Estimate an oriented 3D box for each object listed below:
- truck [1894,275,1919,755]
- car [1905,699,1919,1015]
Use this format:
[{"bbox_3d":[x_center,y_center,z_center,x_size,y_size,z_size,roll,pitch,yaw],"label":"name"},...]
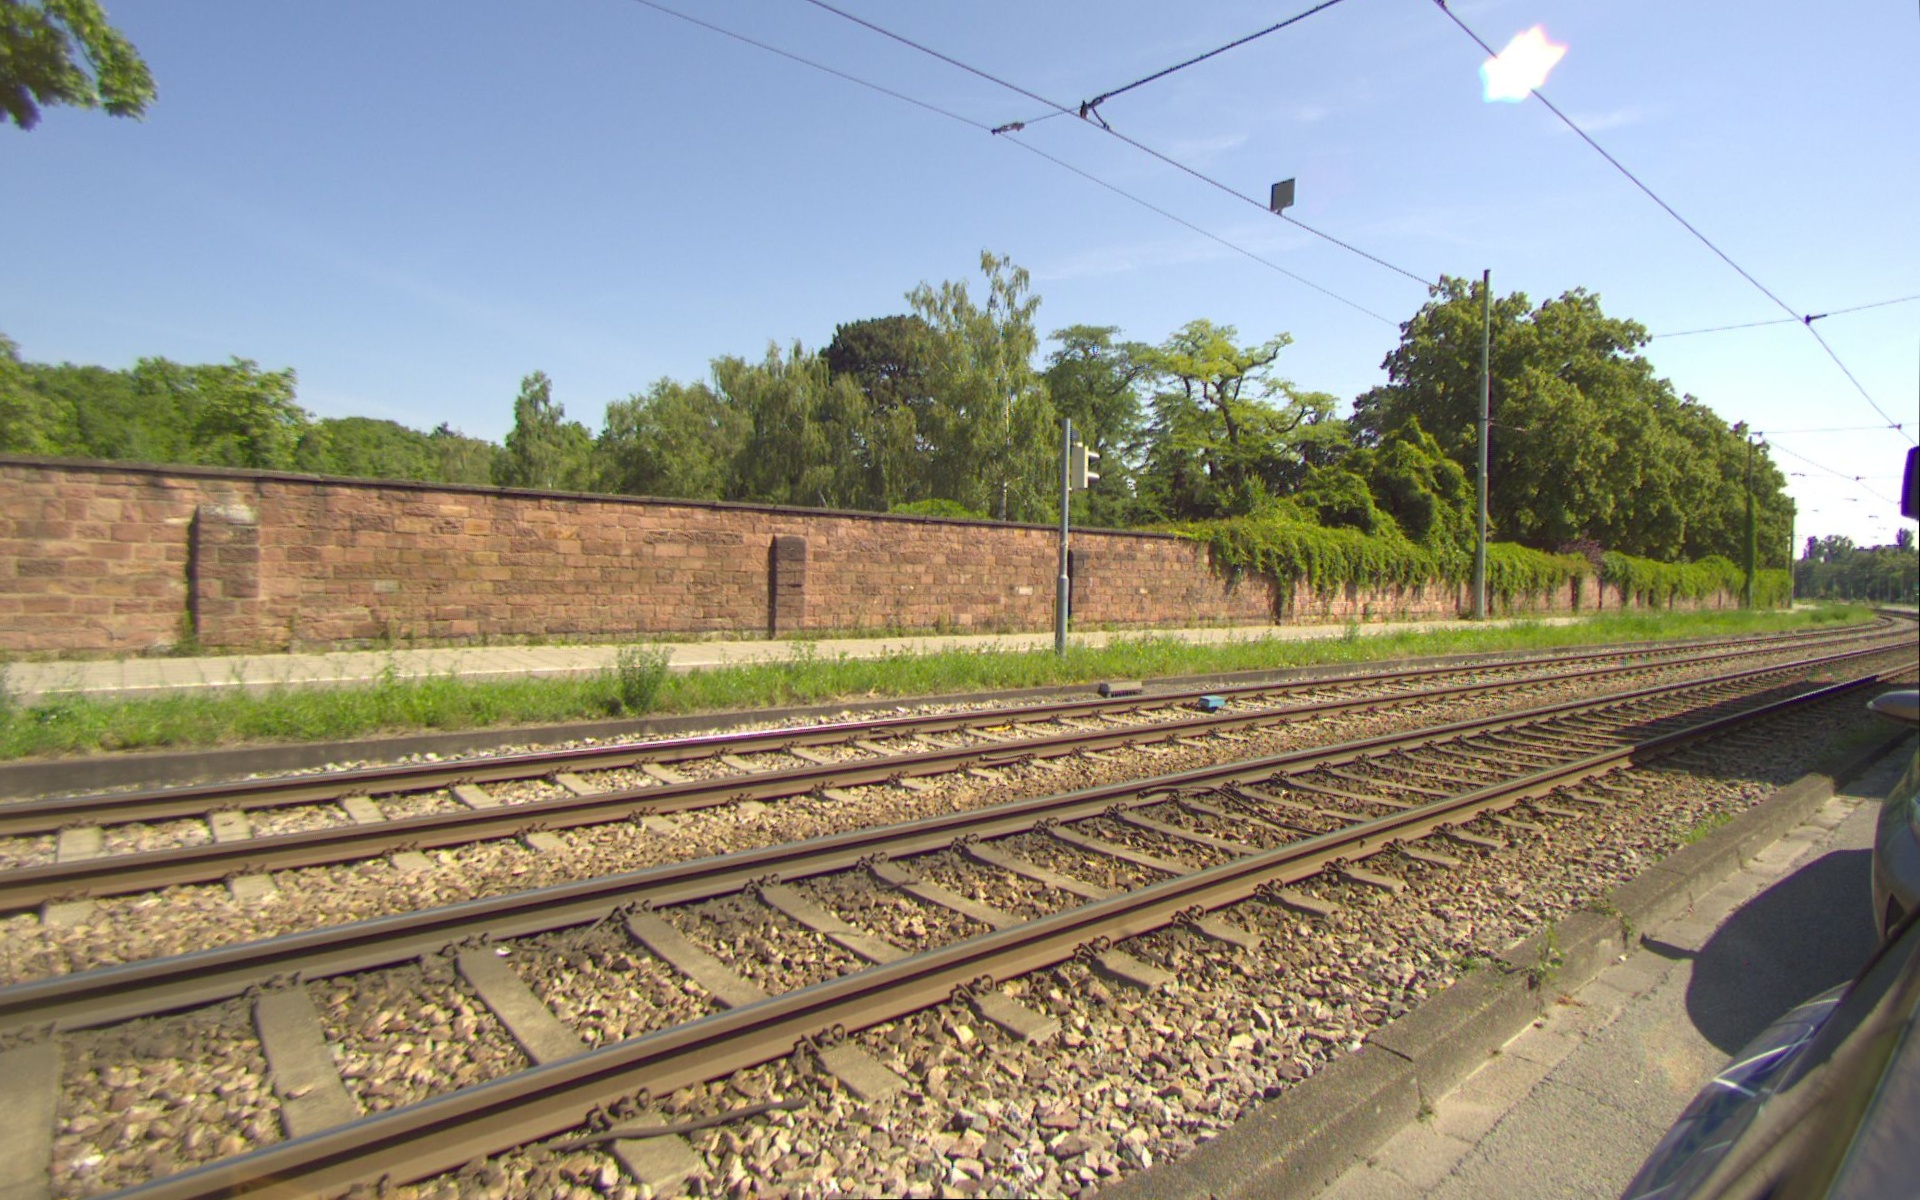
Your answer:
[{"bbox_3d":[14.259,-0.647,12.034,14.652,3.927,2.934,0,2,-41],"label":"truck"},{"bbox_3d":[5.128,0.667,4.014,3.930,1.448,1.573,0,2,-41],"label":"car"}]
